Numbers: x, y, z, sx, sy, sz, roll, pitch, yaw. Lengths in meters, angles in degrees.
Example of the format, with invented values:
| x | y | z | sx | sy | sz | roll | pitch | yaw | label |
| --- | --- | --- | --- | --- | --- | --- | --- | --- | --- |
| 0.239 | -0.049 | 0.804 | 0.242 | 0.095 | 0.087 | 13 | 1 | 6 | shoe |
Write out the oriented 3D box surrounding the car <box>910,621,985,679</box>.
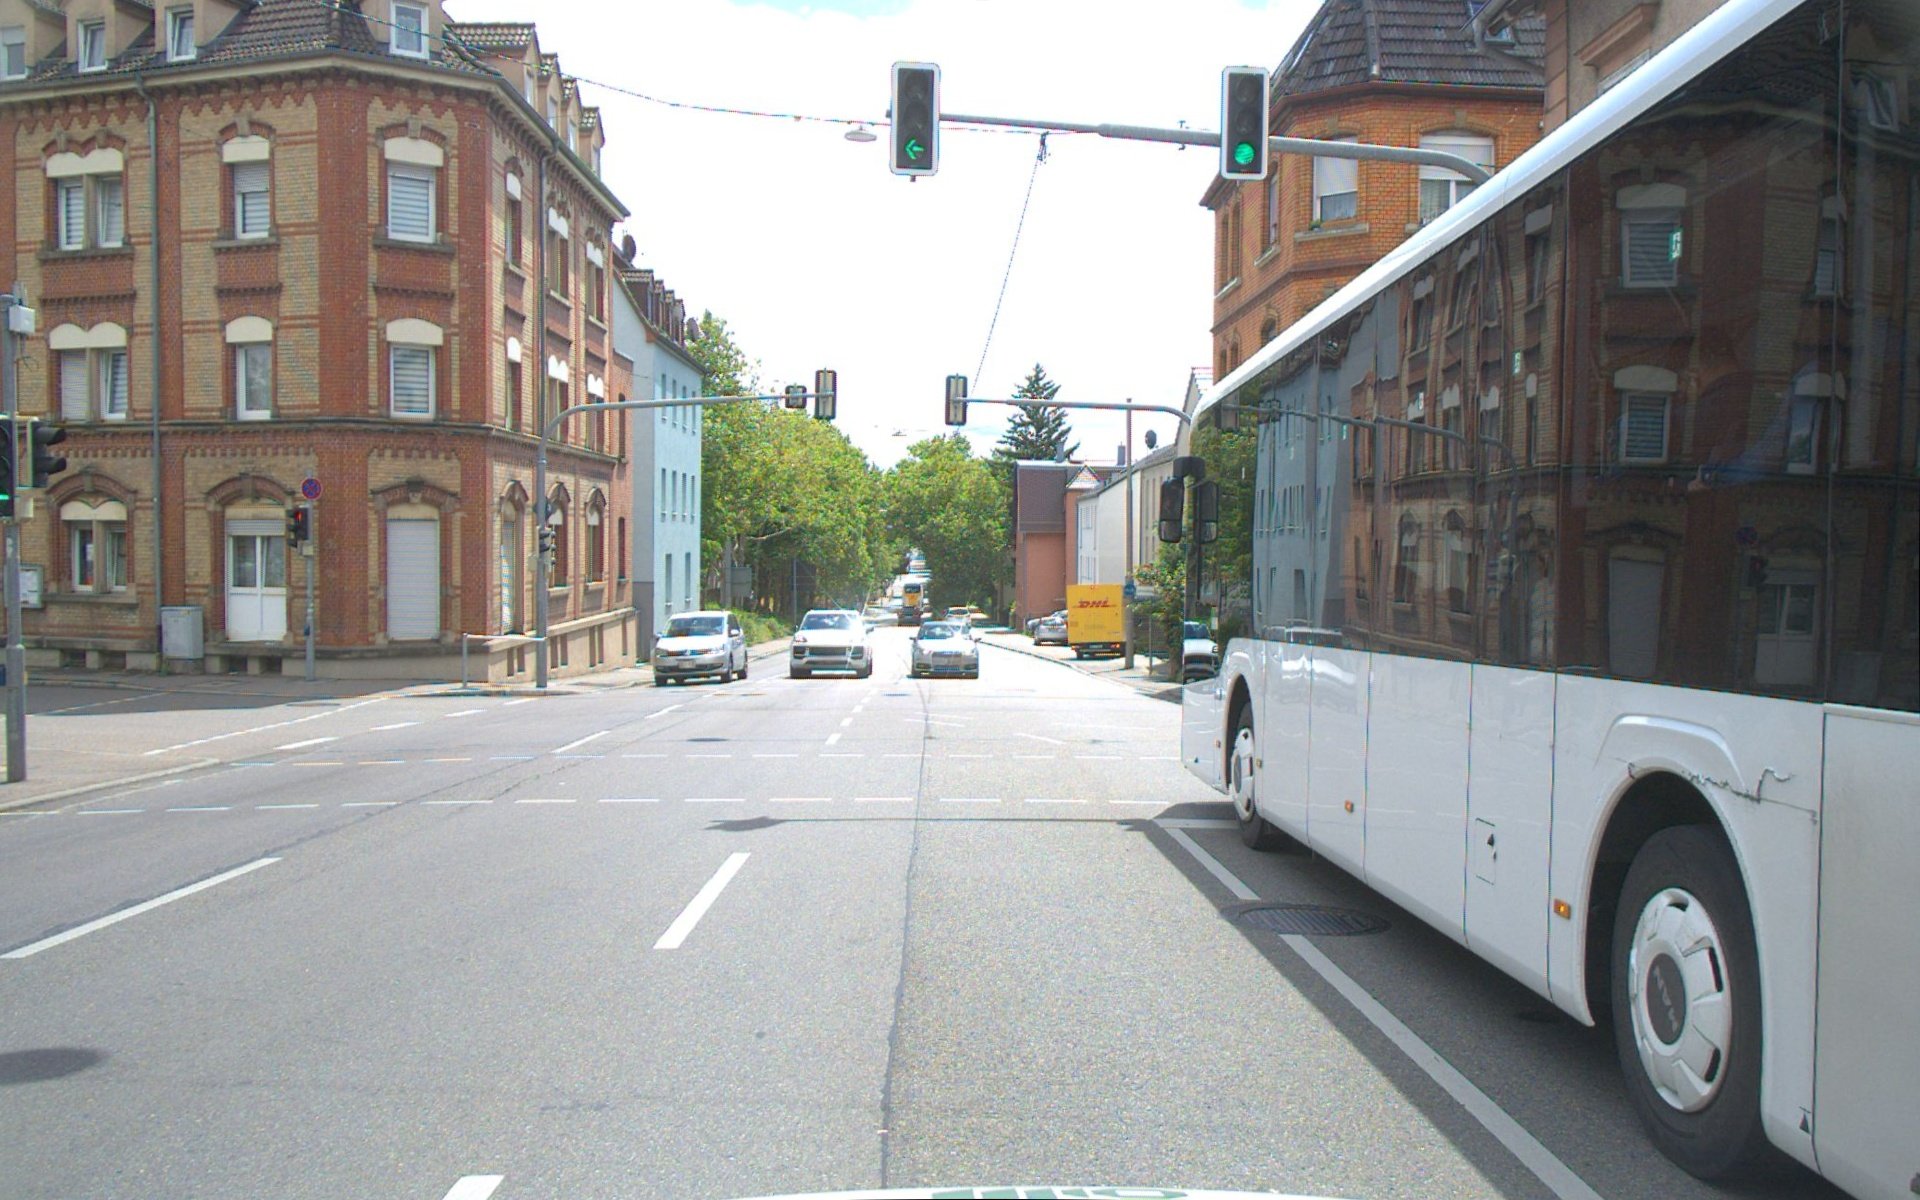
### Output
| x | y | z | sx | sy | sz | roll | pitch | yaw | label |
| --- | --- | --- | --- | --- | --- | --- | --- | --- | --- |
| -0.341 | 1.253 | 43.000 | 1.827 | 1.391 | 4.546 | 0 | 0 | -1 | car |

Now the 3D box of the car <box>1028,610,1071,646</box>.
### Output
| x | y | z | sx | sy | sz | roll | pitch | yaw | label |
| --- | --- | --- | --- | --- | --- | --- | --- | --- | --- |
| 4.823 | 1.491 | 89.260 | 1.872 | 1.848 | 3.997 | 0 | -1 | -3 | car |

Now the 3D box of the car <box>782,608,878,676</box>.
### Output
| x | y | z | sx | sy | sz | roll | pitch | yaw | label |
| --- | --- | --- | --- | --- | --- | --- | --- | --- | --- |
| -3.276 | 1.031 | 42.499 | 2.162 | 1.641 | 4.546 | 0 | 0 | -1 | car |

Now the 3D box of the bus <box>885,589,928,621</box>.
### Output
| x | y | z | sx | sy | sz | roll | pitch | yaw | label |
| --- | --- | --- | --- | --- | --- | --- | --- | --- | --- |
| -6.522 | 0.647 | 199.371 | 3.242 | 3.694 | 11.210 | -1 | 0 | -12 | bus |

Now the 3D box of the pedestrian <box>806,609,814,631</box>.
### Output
| x | y | z | sx | sy | sz | roll | pitch | yaw | label |
| --- | --- | --- | --- | --- | --- | --- | --- | --- | --- |
| -12.087 | 1.591 | 133.169 | 0.594 | 1.789 | 0.653 | -1 | -1 | -2 | pedestrian |

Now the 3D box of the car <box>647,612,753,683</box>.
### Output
| x | y | z | sx | sy | sz | roll | pitch | yaw | label |
| --- | --- | --- | --- | --- | --- | --- | --- | --- | --- |
| -6.167 | 1.100 | 39.688 | 1.896 | 1.591 | 4.388 | 0 | 0 | -1 | car |

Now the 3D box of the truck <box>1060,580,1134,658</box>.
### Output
| x | y | z | sx | sy | sz | roll | pitch | yaw | label |
| --- | --- | --- | --- | --- | --- | --- | --- | --- | --- |
| 5.574 | 0.764 | 66.389 | 2.487 | 2.964 | 6.577 | 1 | -1 | 9 | truck |

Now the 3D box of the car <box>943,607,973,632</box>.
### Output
| x | y | z | sx | sy | sz | roll | pitch | yaw | label |
| --- | --- | --- | --- | --- | --- | --- | --- | --- | --- |
| -0.164 | 1.492 | 125.861 | 2.050 | 1.862 | 4.139 | 0 | 0 | -4 | car |

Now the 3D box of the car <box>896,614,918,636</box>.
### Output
| x | y | z | sx | sy | sz | roll | pitch | yaw | label |
| --- | --- | --- | --- | --- | --- | --- | --- | --- | --- |
| -4.417 | 2.081 | 139.368 | 1.782 | 1.816 | 3.999 | 0 | 0 | -1 | car |

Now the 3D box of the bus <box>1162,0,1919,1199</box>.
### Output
| x | y | z | sx | sy | sz | roll | pitch | yaw | label |
| --- | --- | --- | --- | --- | --- | --- | --- | --- | --- |
| 3.220 | -0.246 | 7.542 | 2.845 | 3.572 | 12.484 | 1 | -1 | -1 | bus |
